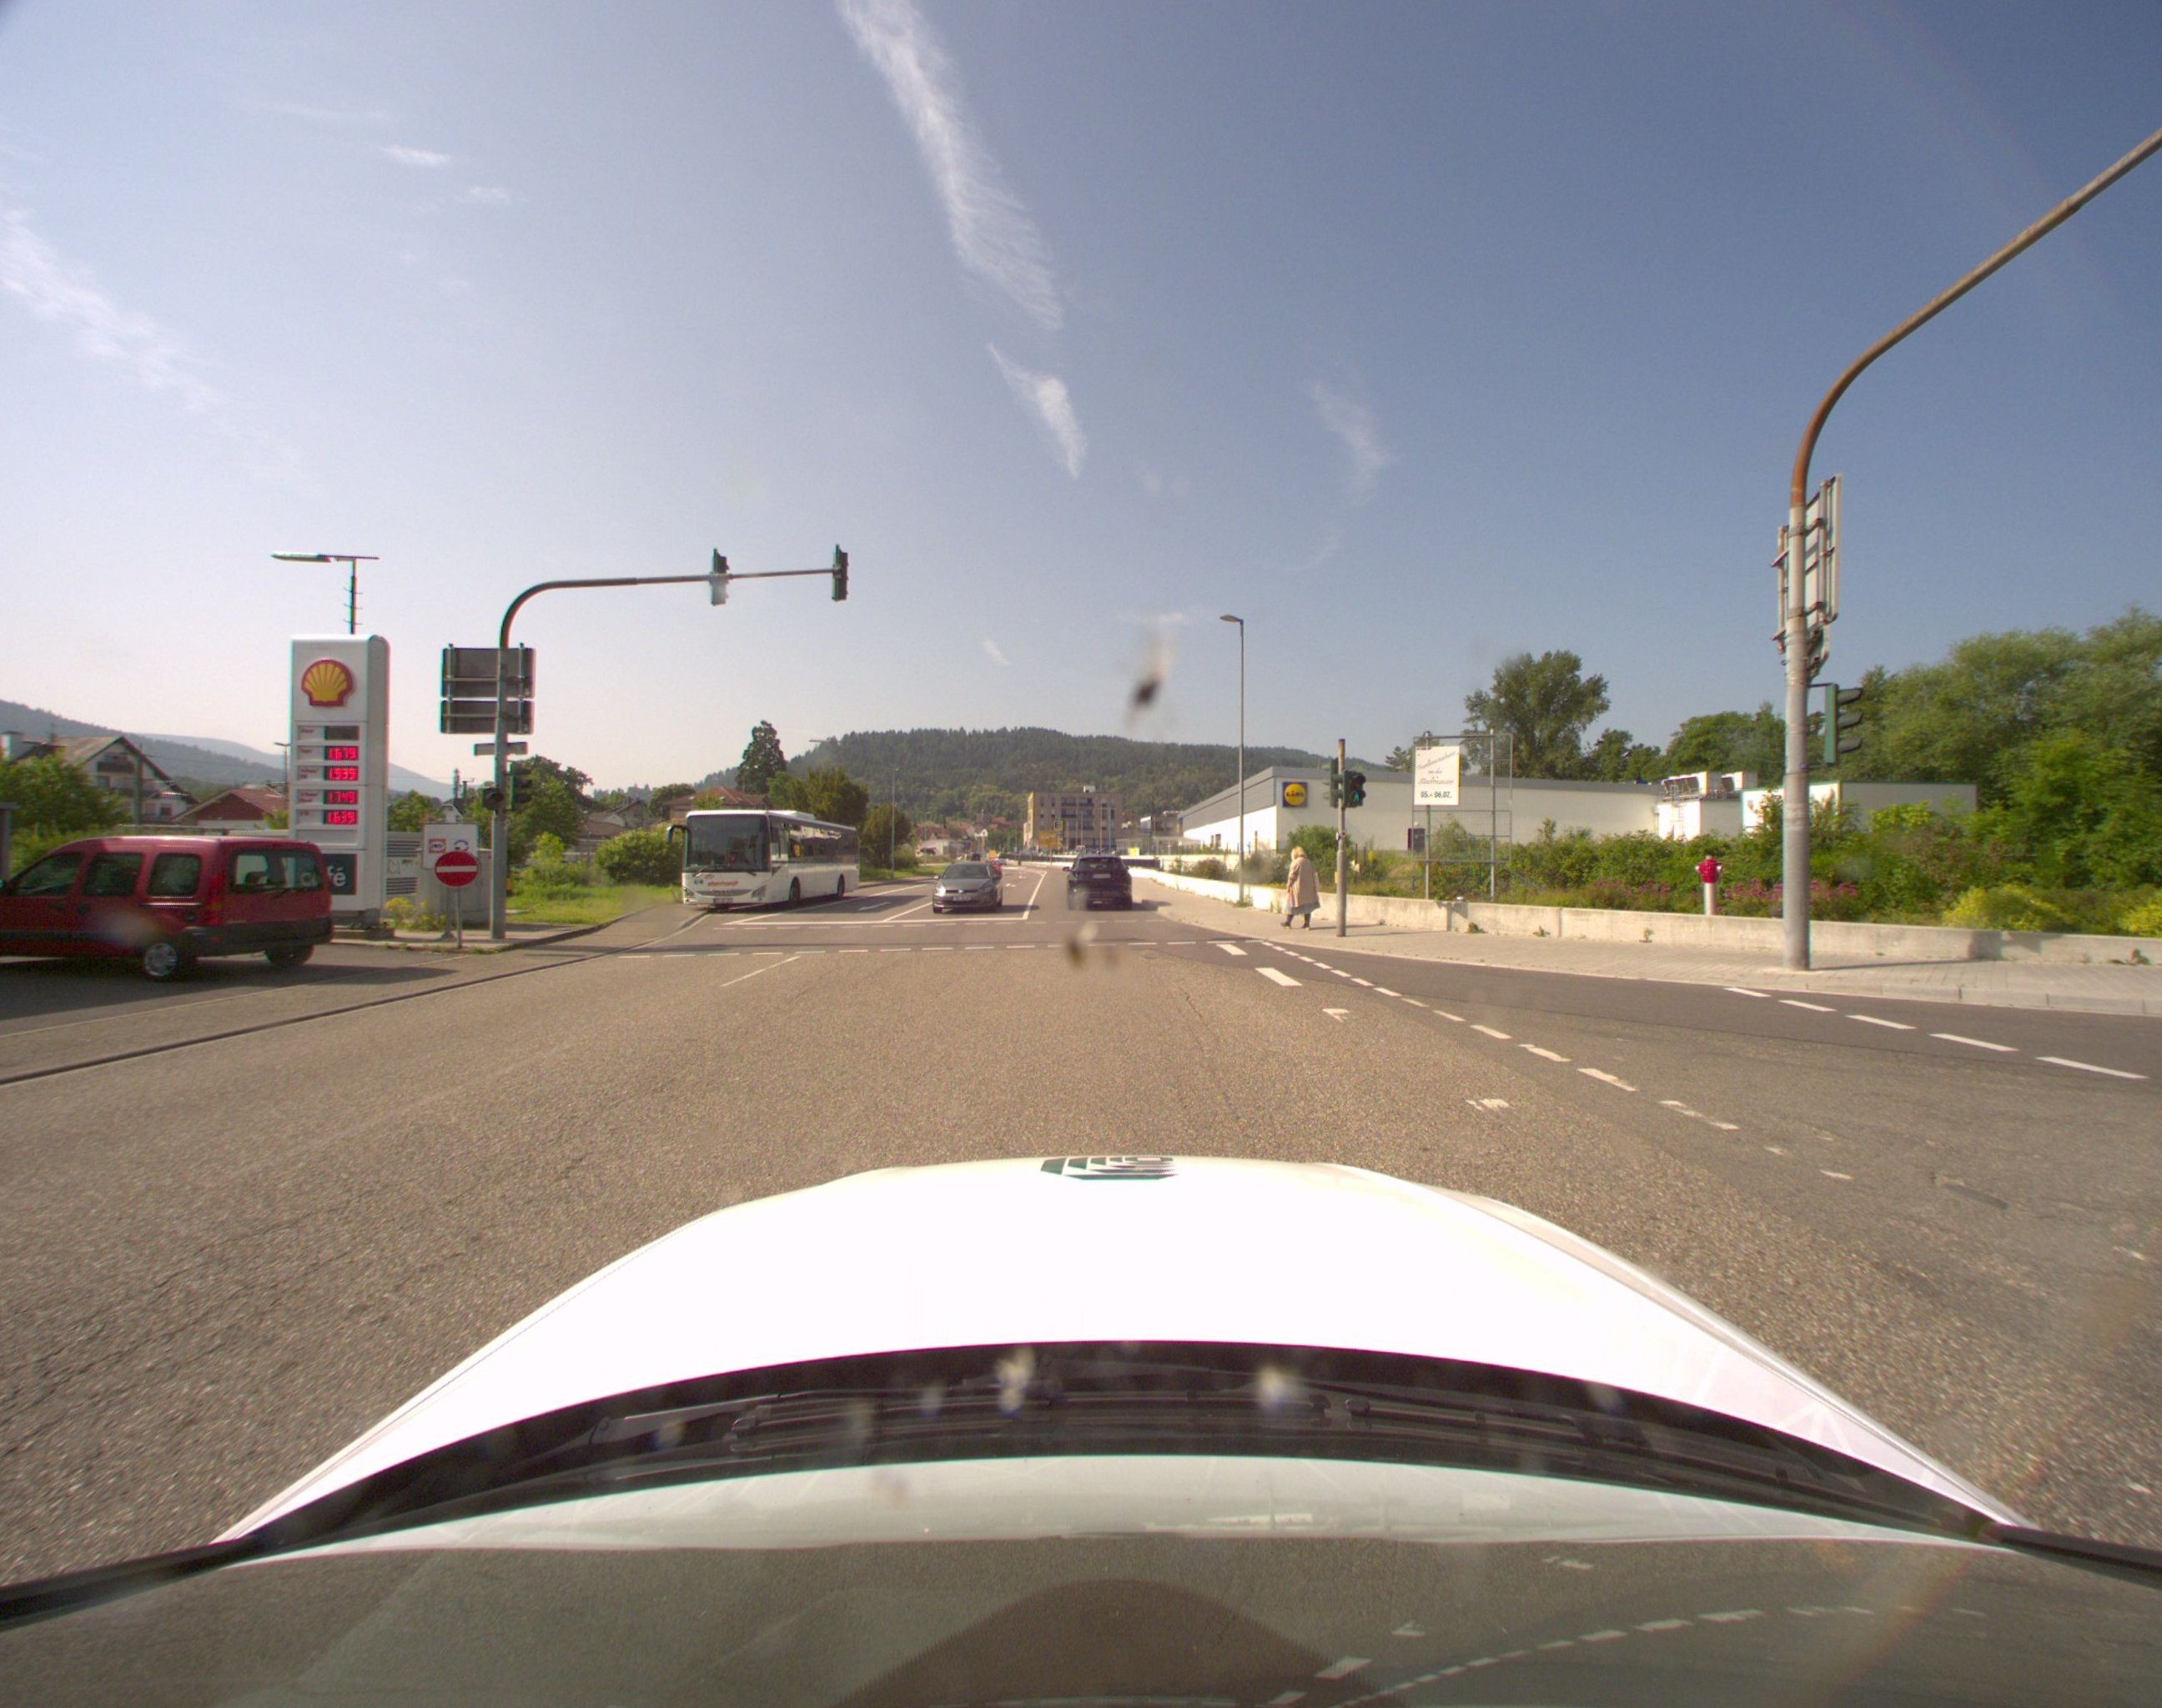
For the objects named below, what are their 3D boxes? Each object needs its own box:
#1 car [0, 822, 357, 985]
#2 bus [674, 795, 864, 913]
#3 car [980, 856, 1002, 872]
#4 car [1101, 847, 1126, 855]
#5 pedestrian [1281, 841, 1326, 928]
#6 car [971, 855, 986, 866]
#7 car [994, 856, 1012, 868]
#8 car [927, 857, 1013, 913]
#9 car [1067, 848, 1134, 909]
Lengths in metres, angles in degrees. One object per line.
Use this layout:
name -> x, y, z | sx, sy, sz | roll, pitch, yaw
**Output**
car -> -12.233, 0.580, 10.771 | 3.760, 1.795, 1.703 | 3, 0, 3
bus -> -10.445, 0.036, 29.080 | 2.614, 3.310, 11.945 | -1, 0, -3
car -> -8.621, 0.943, 78.250 | 1.833, 1.492, 4.427 | -1, 0, -3
car -> 5.602, -0.525, 140.603 | 4.076, 1.404, 1.475 | 0, 0, -21
pedestrian -> 4.375, 0.598, 16.060 | 0.708, 1.671, 0.593 | -1, -1, -1
car -> -18.950, 1.150, 151.083 | 1.985, 2.014, 4.003 | -1, 0, 3
car -> -13.308, 1.349, 138.139 | 2.001, 2.014, 3.971 | -1, 0, -21
car -> -3.175, 0.846, 24.109 | 1.765, 1.473, 4.222 | -1, 0, 2
car -> 0.656, 0.702, 24.857 | 1.873, 1.684, 4.003 | -1, 0, 3
